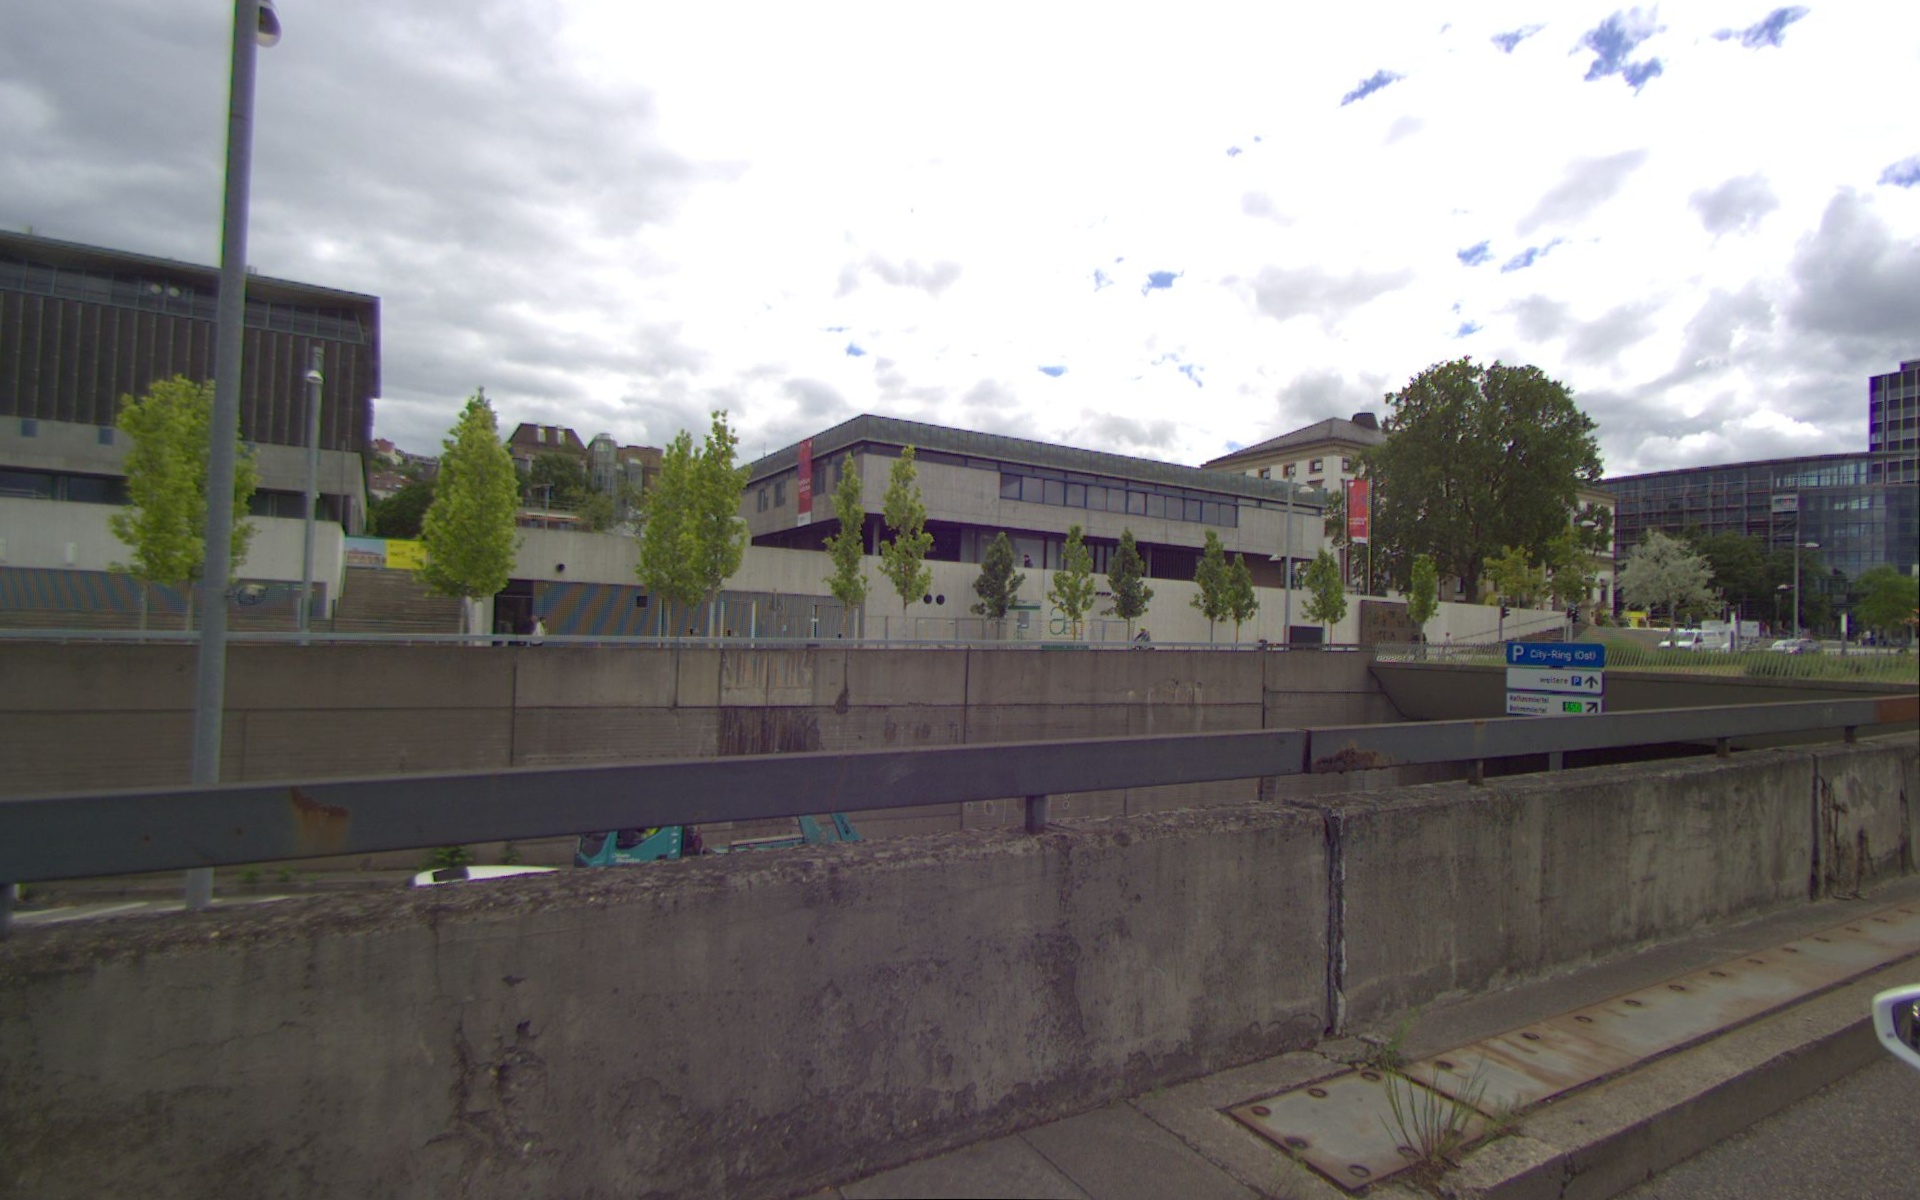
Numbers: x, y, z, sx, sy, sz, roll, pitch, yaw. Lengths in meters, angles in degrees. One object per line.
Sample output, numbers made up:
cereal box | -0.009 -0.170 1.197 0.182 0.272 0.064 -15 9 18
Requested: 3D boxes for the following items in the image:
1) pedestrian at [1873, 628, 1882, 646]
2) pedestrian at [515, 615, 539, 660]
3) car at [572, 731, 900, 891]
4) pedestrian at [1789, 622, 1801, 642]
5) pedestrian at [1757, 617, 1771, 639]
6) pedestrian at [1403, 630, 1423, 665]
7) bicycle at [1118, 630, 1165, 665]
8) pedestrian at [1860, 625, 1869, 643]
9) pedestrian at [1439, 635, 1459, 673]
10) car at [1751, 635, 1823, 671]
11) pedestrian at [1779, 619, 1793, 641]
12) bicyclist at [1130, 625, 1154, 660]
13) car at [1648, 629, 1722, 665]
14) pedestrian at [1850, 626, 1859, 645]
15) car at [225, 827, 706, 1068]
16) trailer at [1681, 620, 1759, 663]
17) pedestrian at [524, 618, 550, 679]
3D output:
pedestrian | 105.606 4.262 115.589 0.731 2.040 0.788 -1 -1 45
pedestrian | -16.281 1.383 37.769 0.783 1.664 0.736 0 -1 -27
car | -4.439 4.027 20.149 5.865 2.341 2.607 3 0 -30
pedestrian | 88.450 3.404 106.369 0.732 2.040 0.786 0 -1 -31
pedestrian | 75.769 2.661 94.659 0.783 2.040 0.735 0 -1 -29
pedestrian | 26.535 2.759 58.779 0.779 2.040 0.739 0 0 -13
bicycle | 8.491 2.222 46.974 2.165 1.556 0.722 3 0 -31
pedestrian | 104.655 3.886 116.239 0.731 2.040 0.788 -1 -1 45
pedestrian | 26.734 2.947 54.953 0.845 2.040 0.629 0 -1 12
car | 51.410 3.237 62.433 4.635 2.040 1.985 0 0 -30
pedestrian | 77.153 2.790 93.814 0.783 2.040 0.736 3 -2 -27
bicyclist | 8.525 1.983 46.990 0.767 1.574 0.727 3 0 -31
car | 44.644 2.880 61.828 4.635 2.040 1.985 0 0 -30
pedestrian | 100.321 3.993 112.631 0.729 2.040 0.790 -1 -1 38
car | -7.065 4.841 14.919 5.866 1.999 2.607 3 0 -30
trailer | 48.891 2.633 64.567 5.443 2.640 2.028 1 1 -30
pedestrian | -14.444 1.651 34.306 0.781 2.040 0.737 0 -1 -19
